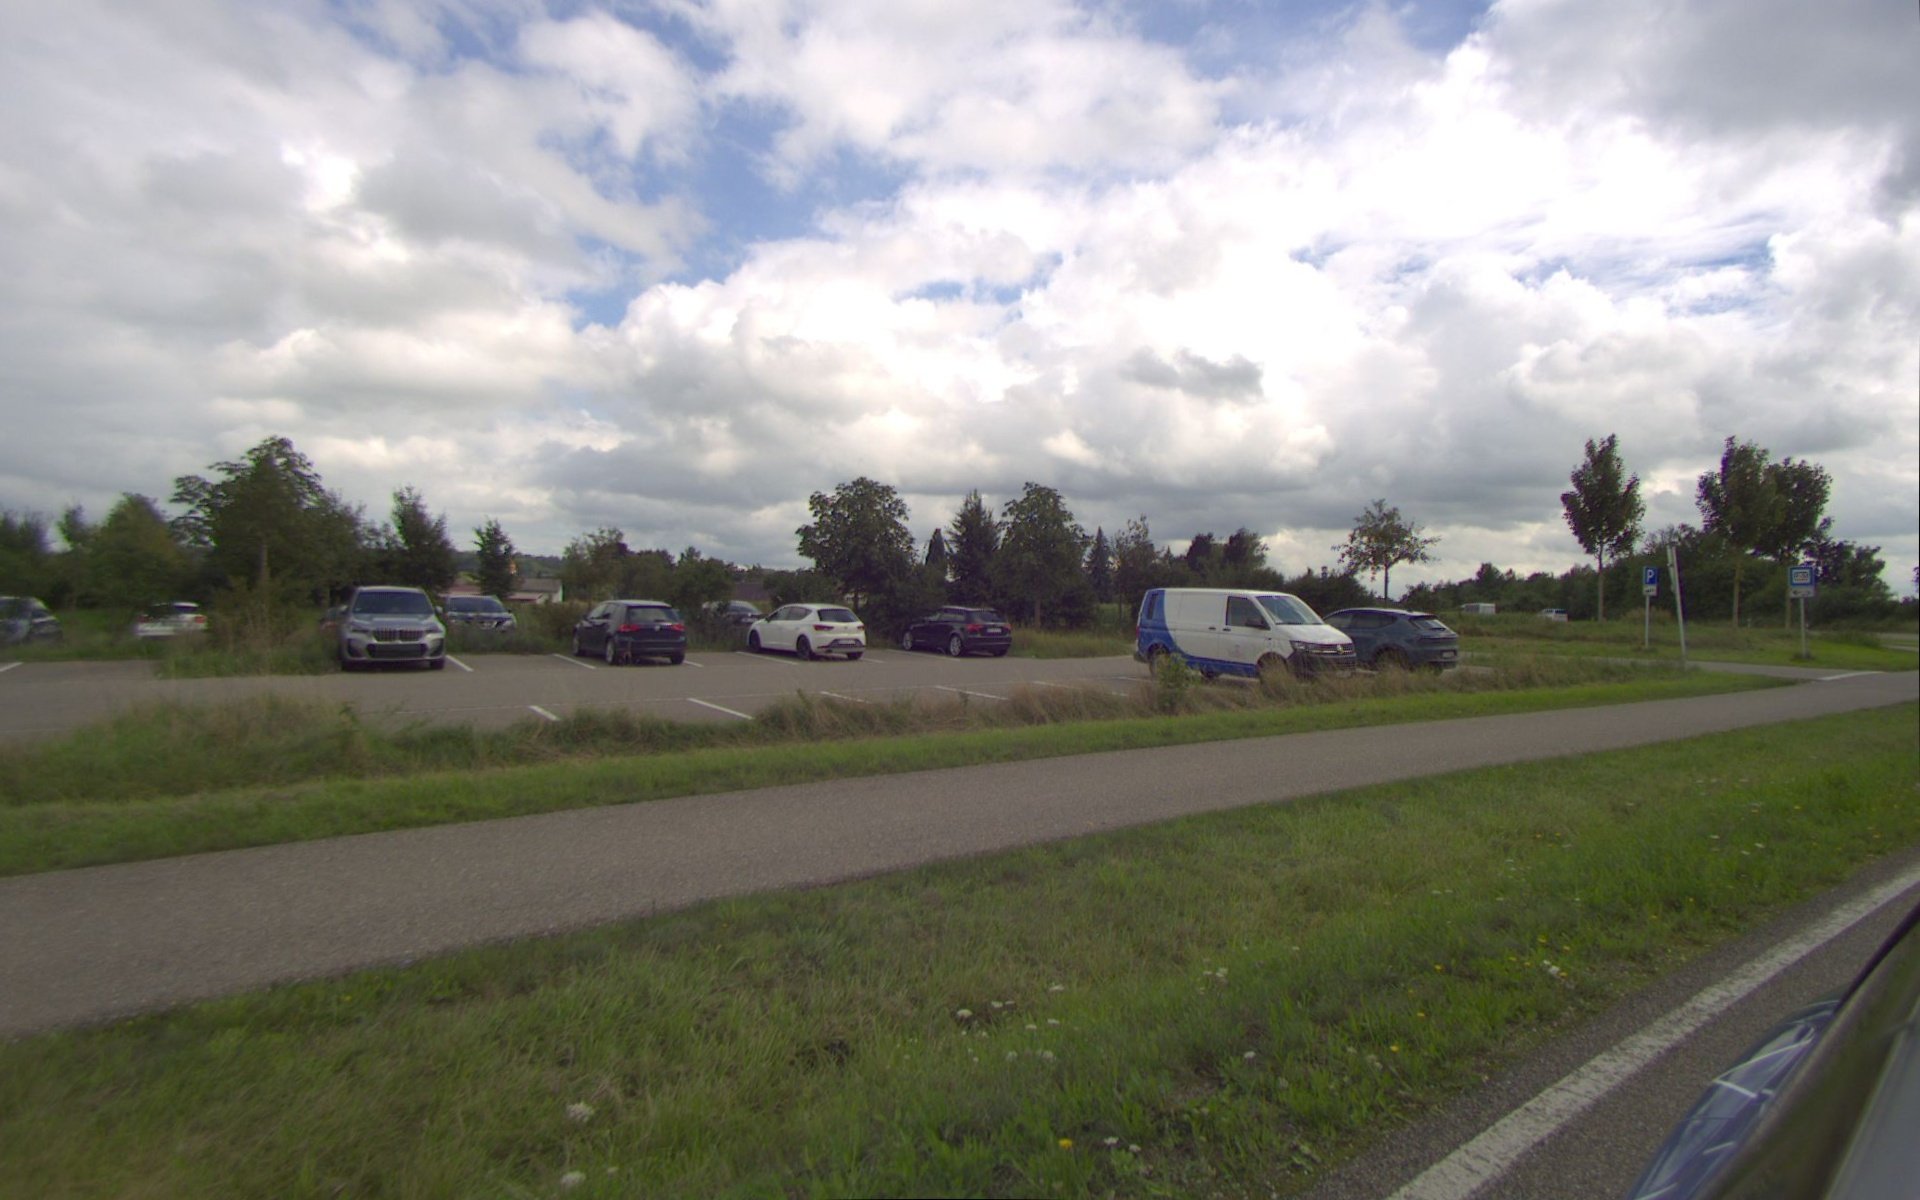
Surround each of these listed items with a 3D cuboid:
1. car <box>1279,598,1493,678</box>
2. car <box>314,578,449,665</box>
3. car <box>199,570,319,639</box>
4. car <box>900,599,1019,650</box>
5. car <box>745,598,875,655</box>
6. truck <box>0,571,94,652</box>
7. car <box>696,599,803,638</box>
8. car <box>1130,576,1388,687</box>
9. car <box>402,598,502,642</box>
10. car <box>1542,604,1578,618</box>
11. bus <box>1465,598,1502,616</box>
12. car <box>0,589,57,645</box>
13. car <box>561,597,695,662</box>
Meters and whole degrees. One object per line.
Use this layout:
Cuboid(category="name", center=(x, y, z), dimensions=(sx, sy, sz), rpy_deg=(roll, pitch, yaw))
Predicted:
Cuboid(category="car", center=(9.793, 0.798, 23.571), dimensions=(1.803, 1.586, 4.285), rpy_deg=(1, 1, -36))
Cuboid(category="car", center=(-11.962, 0.417, 20.848), dimensions=(1.729, 1.628, 3.693), rpy_deg=(1, -1, -41))
Cuboid(category="car", center=(-17.948, 0.107, 25.845), dimensions=(1.966, 1.616, 3.991), rpy_deg=(1, -1, -43))
Cuboid(category="car", center=(-0.069, 0.691, 29.871), dimensions=(1.697, 1.409, 3.698), rpy_deg=(0, -1, -36))
Cuboid(category="car", center=(-4.073, 0.671, 27.110), dimensions=(1.729, 1.409, 3.693), rpy_deg=(1, -1, -41))
Cuboid(category="truck", center=(-28.769, 0.327, 28.720), dimensions=(6.272, 2.246, 3.135), rpy_deg=(0, -1, -40))
Cuboid(category="car", center=(-6.977, 0.586, 33.300), dimensions=(1.963, 1.182, 3.998), rpy_deg=(0, -1, -37))
Cuboid(category="car", center=(5.960, 0.588, 20.802), dimensions=(1.918, 1.999, 4.960), rpy_deg=(1, -1, -36))
Cuboid(category="car", center=(-14.935, 0.557, 29.676), dimensions=(1.963, 1.182, 3.998), rpy_deg=(0, -1, -37))
Cuboid(category="car", center=(80.928, 1.483, 136.553), dimensions=(2.083, 1.892, 5.178), rpy_deg=(0, 0, 5))
Cuboid(category="bus", center=(81.817, 1.073, 158.296), dimensions=(2.442, 2.746, 8.409), rpy_deg=(0, 0, 8))
Cuboid(category="car", center=(-21.533, 0.362, 22.382), dimensions=(1.963, 1.182, 3.998), rpy_deg=(0, -1, -37))
Cuboid(category="car", center=(-7.920, 0.649, 23.989), dimensions=(1.729, 1.409, 3.693), rpy_deg=(1, -1, -41))
